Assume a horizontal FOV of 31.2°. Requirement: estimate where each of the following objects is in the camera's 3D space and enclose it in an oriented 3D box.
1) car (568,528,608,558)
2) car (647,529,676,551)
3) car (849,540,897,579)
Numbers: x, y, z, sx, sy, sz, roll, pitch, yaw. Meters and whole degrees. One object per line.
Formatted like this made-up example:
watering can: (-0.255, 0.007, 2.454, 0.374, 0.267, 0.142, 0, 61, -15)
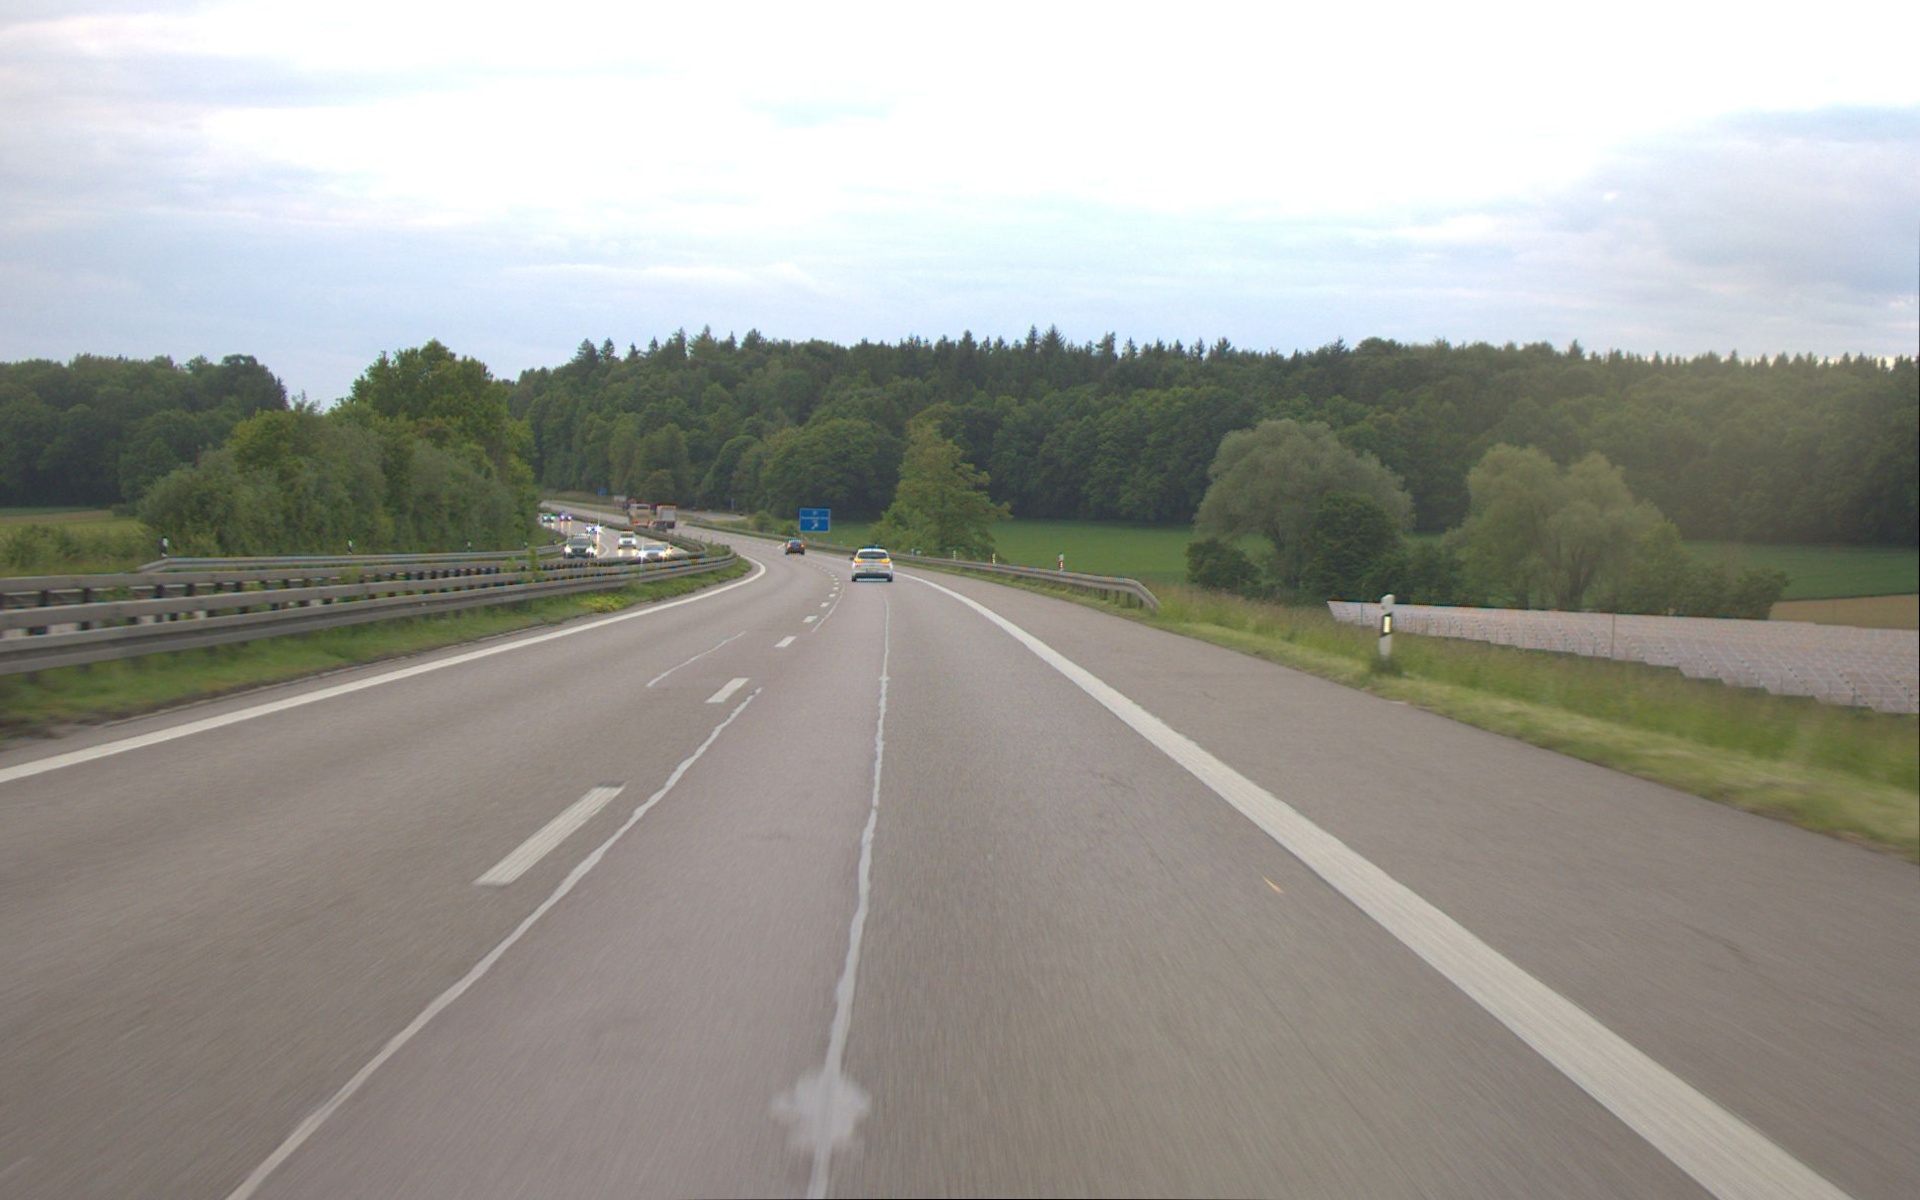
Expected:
car: (-23.480, -3.597, 216.881, 1.886, 1.688, 5.769, 3, 0, -1)
car: (-20.524, -4.150, 236.784, 1.566, 1.360, 4.620, 3, 1, -1)
car: (-3.851, -1.785, 151.483, 1.951, 1.526, 4.081, 3, 1, -3)
